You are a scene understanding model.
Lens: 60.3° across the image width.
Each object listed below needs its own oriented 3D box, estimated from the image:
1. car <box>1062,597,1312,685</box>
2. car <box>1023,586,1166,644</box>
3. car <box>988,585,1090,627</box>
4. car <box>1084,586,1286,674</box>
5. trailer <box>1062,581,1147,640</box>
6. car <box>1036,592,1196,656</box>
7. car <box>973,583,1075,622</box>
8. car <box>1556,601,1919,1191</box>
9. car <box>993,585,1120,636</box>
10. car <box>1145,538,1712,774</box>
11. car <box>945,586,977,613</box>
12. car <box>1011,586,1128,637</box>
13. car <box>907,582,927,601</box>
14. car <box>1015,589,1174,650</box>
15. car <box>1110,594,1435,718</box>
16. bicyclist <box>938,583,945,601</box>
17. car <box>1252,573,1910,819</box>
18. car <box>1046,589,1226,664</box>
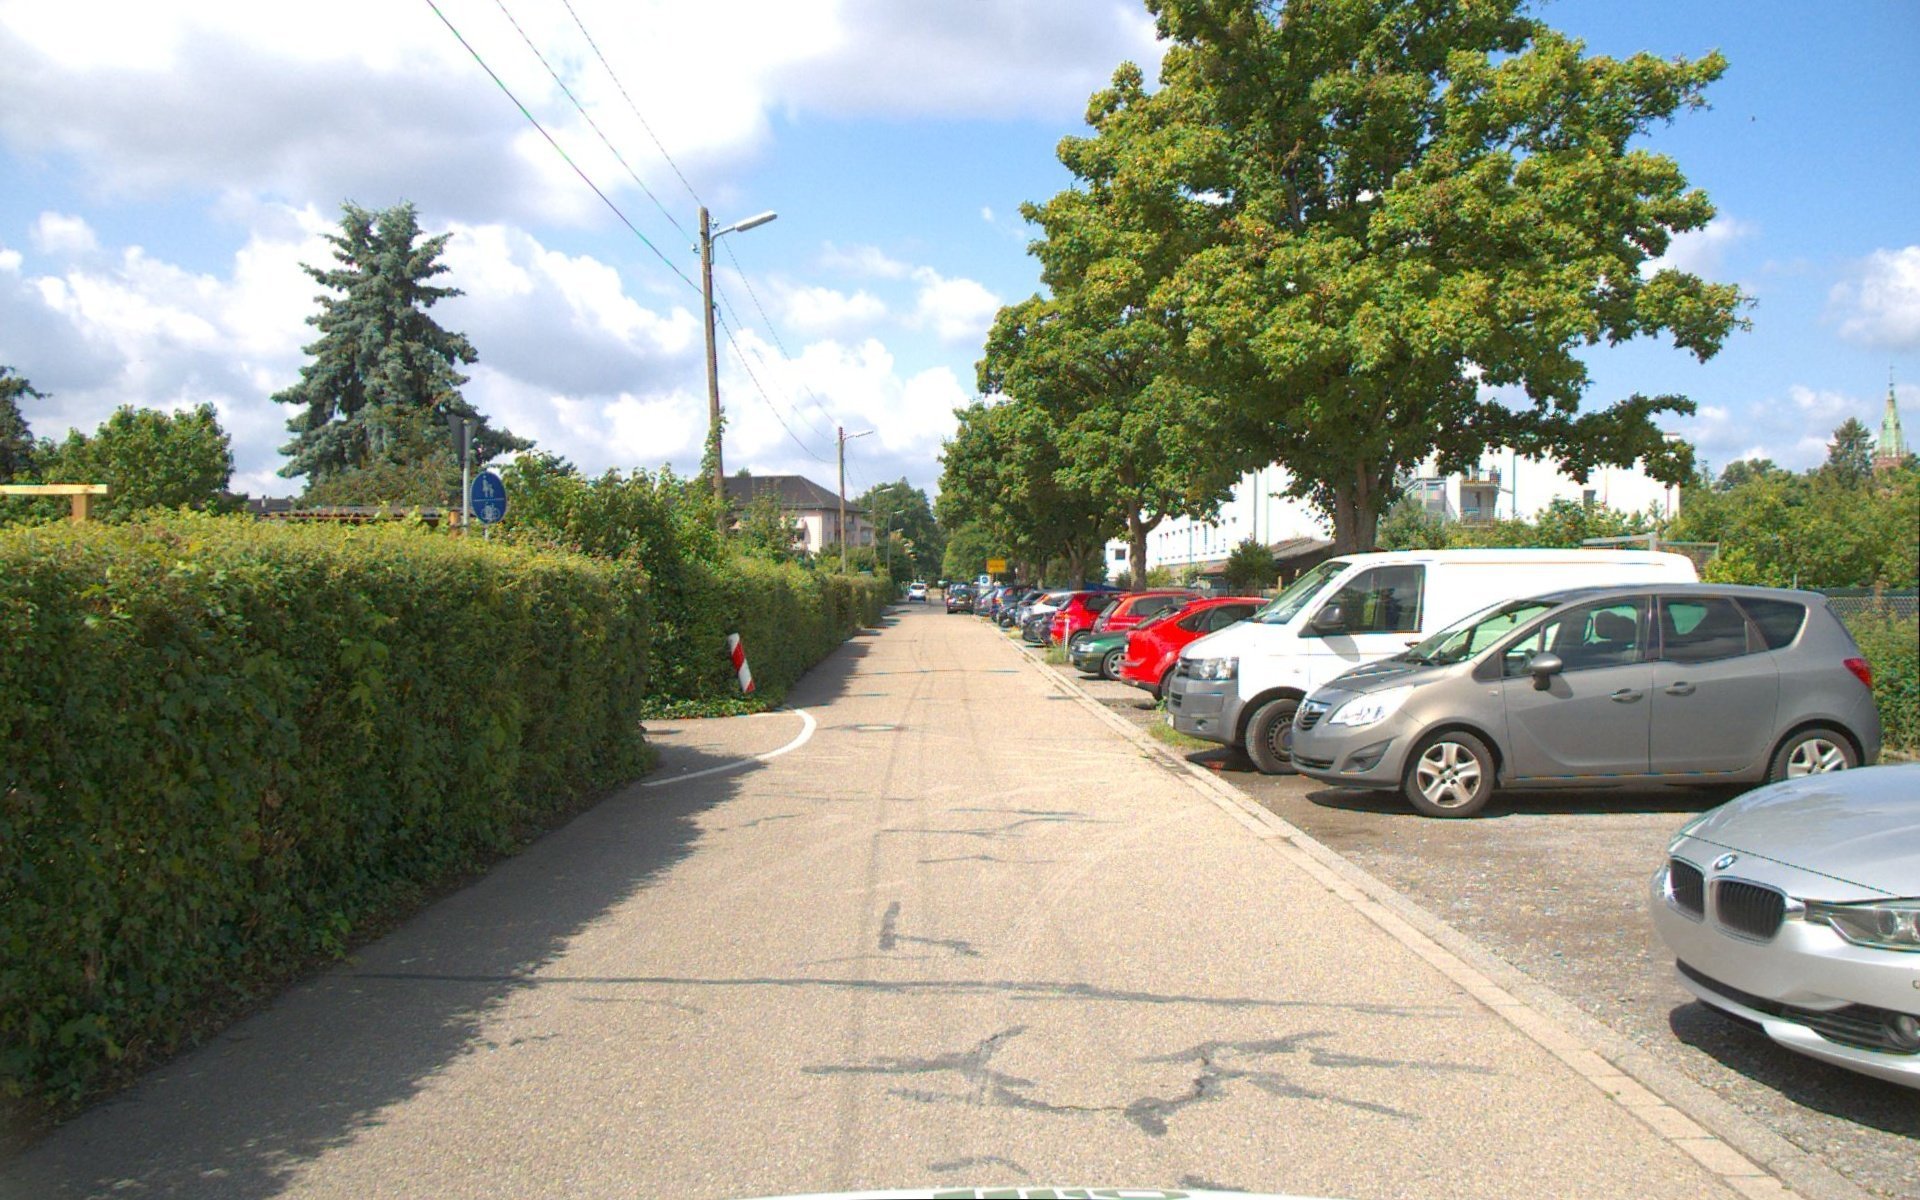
[{"bbox_3d":[4.063,0.718,29.981,4.156,1.453,1.906,1,0,-5],"label":"car"},{"bbox_3d":[3.843,0.436,47.790,3.980,1.538,1.958,1,0,2],"label":"car"},{"bbox_3d":[3.225,0.237,68.090,4.070,1.666,1.878,0,0,-1],"label":"car"},{"bbox_3d":[4.394,0.582,32.712,3.688,1.601,1.869,1,0,-2],"label":"car"},{"bbox_3d":[4.515,0.308,52.000,2.402,1.750,1.517,1,1,-5],"label":"trailer"},{"bbox_3d":[3.817,0.586,41.015,3.829,1.448,1.958,1,0,2],"label":"car"},{"bbox_3d":[2.871,0.117,74.678,4.457,1.606,1.808,1,0,-3],"label":"car"},{"bbox_3d":[4.555,0.772,5.417,4.488,1.491,1.998,0,0,-5],"label":"car"},{"bbox_3d":[3.305,0.365,57.444,4.215,1.621,1.999,1,0,-2],"label":"car"},{"bbox_3d":[4.119,0.456,15.108,4.542,1.919,2.110,-1,0,-3],"label":"car"},{"bbox_3d":[0.057,-0.007,99.405,1.628,1.532,4.002,1,0,4],"label":"car"},{"bbox_3d":[3.601,0.365,54.867,3.650,1.567,1.848,1,0,-4],"label":"car"},{"bbox_3d":[-4.343,-0.869,167.792,1.863,1.846,4.001,1,0,1],"label":"car"},{"bbox_3d":[3.558,0.509,44.177,3.985,1.481,1.869,1,0,-4],"label":"car"},{"bbox_3d":[4.210,0.741,22.761,4.097,1.530,1.878,1,0,0],"label":"car"},{"bbox_3d":[-1.835,-0.807,167.032,0.645,1.884,1.043,-1,0,1],"label":"bicyclist"},{"bbox_3d":[4.455,0.646,12.372,4.157,1.620,2.000,-1,0,-1],"label":"car"},{"bbox_3d":[3.936,0.584,37.504,3.904,1.546,1.855,1,0,2],"label":"car"}]
